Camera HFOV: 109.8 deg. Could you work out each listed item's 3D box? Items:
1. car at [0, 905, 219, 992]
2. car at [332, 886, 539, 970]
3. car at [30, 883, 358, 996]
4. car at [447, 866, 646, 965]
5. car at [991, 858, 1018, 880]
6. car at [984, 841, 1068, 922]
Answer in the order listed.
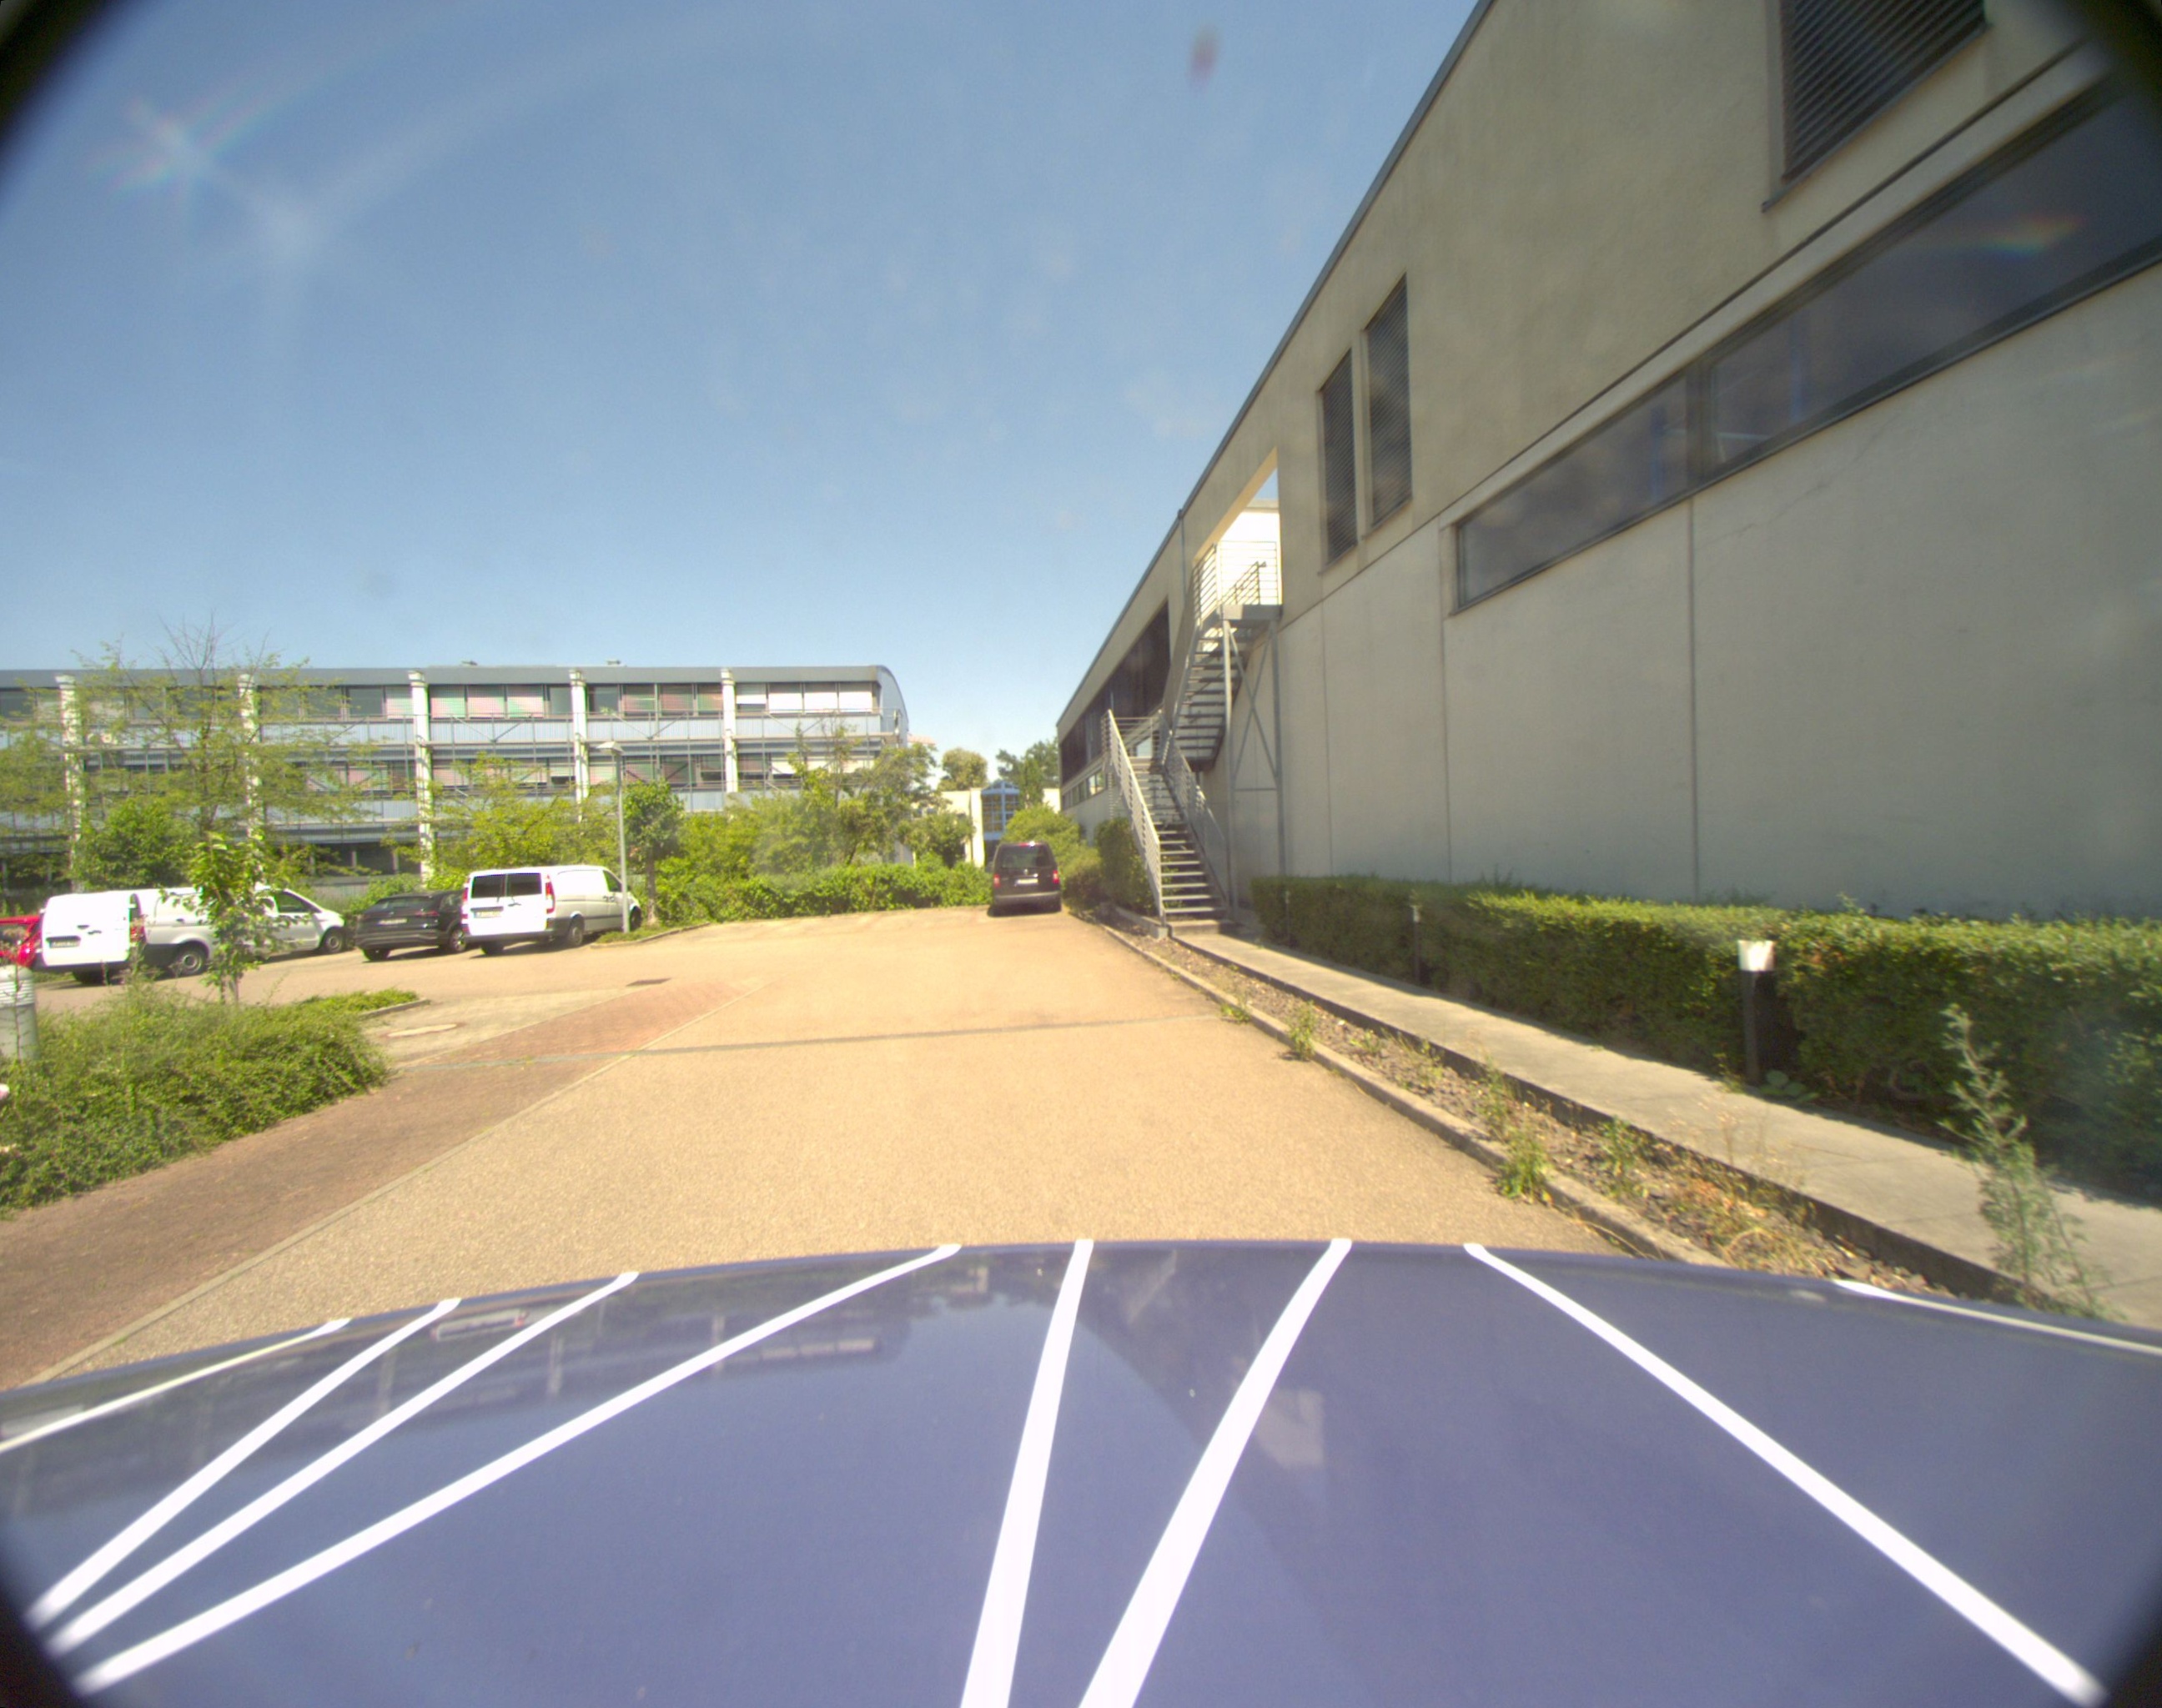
[{"bbox_3d":[-23.145,2.143,17.767,1.624,1.479,3.918,-4,1,-6],"label":"car"},{"bbox_3d":[-15.324,1.678,18.390,1.739,1.475,4.194,-4,1,-8],"label":"car"},{"bbox_3d":[-19.662,1.758,17.313,1.856,1.845,4.932,-4,1,-6],"label":"car"},{"bbox_3d":[-12.511,1.321,18.250,1.868,1.849,4.673,-4,1,-8],"label":"car"},{"bbox_3d":[-6.354,1.183,63.014,1.837,1.558,3.995,-3,2,-11],"label":"car"},{"bbox_3d":[-1.588,0.647,20.562,1.868,1.849,4.225,-4,1,-8],"label":"car"}]
